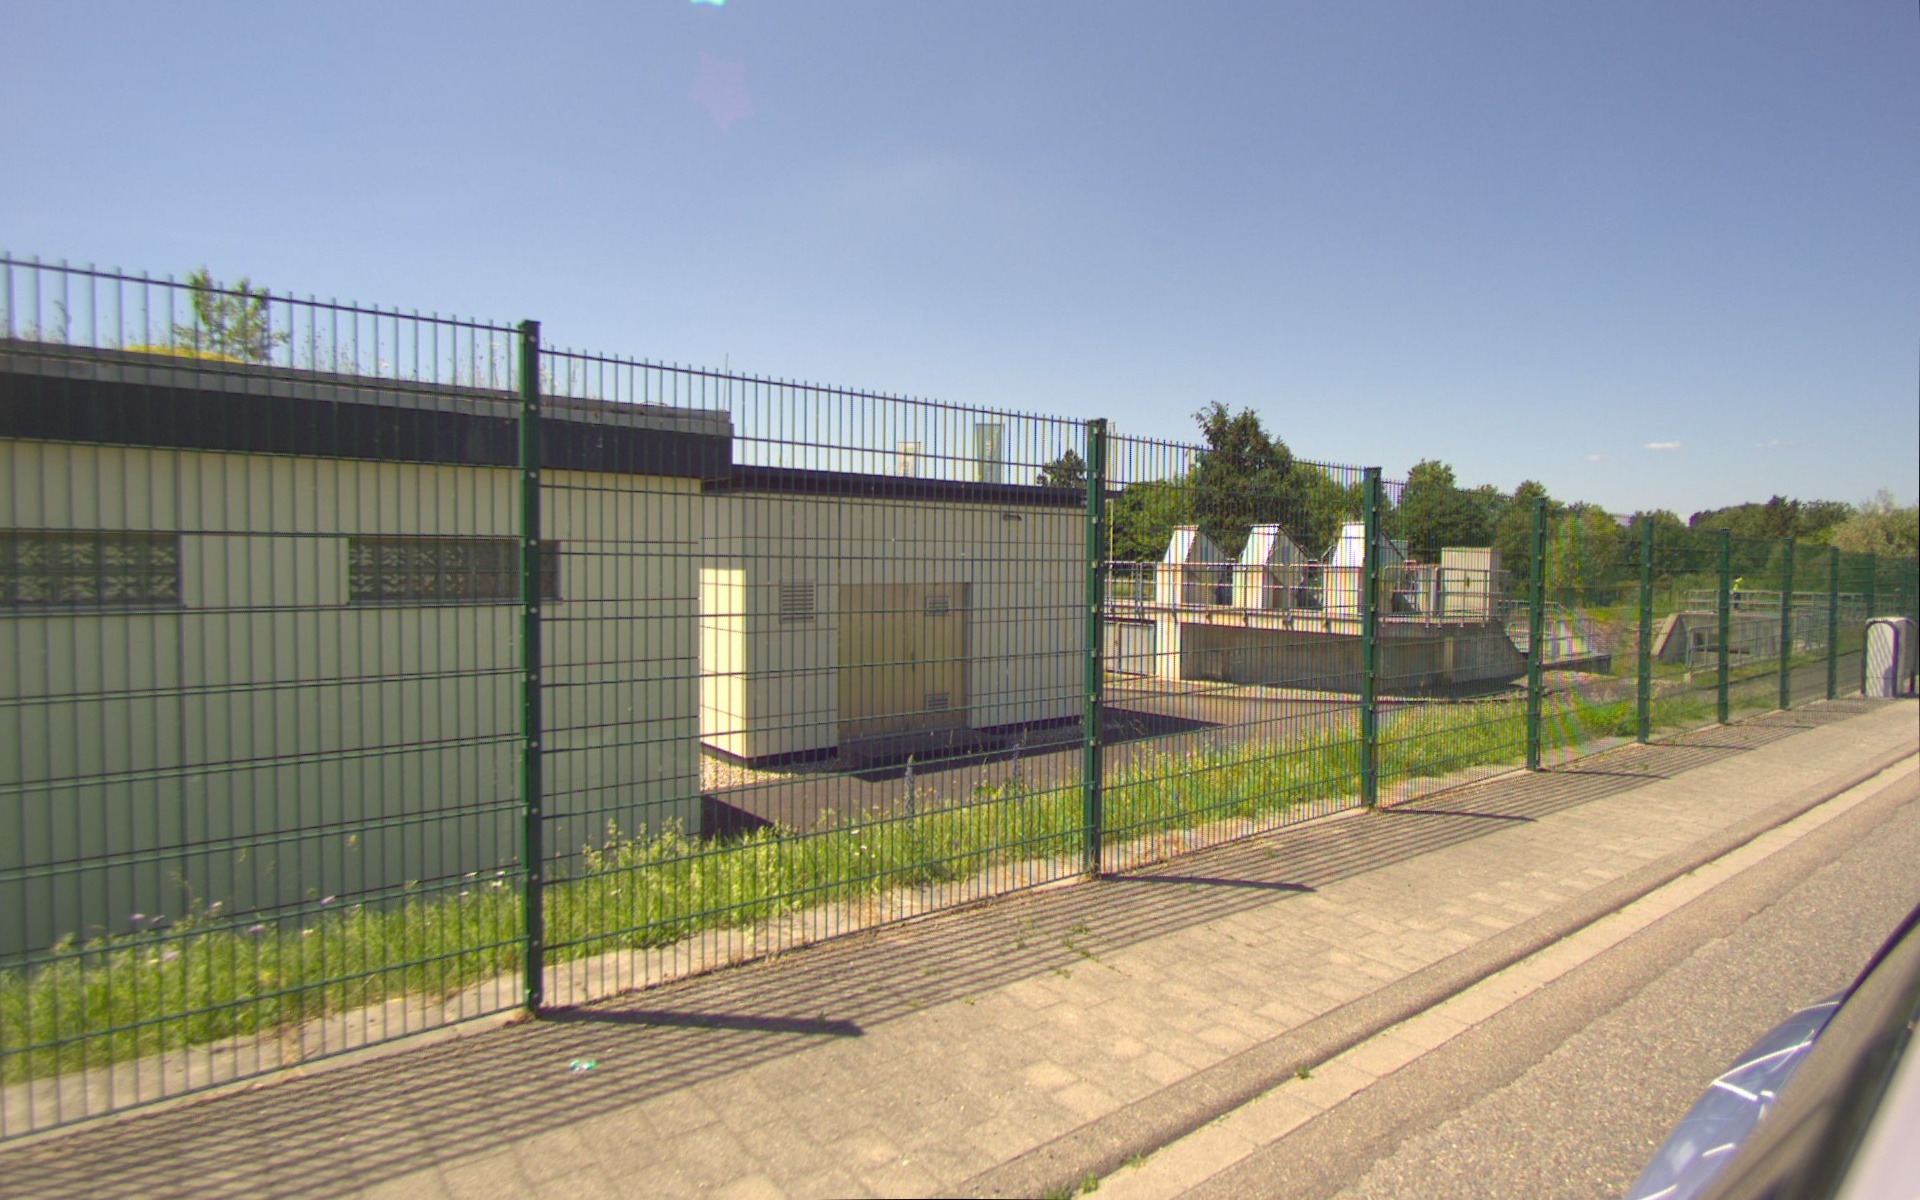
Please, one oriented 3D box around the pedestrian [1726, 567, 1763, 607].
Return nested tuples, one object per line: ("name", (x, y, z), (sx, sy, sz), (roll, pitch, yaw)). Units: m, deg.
("pedestrian", (40.895, -0.663, 52.750), (1.195, 2.039, 1.304), (0, 0, -39))
